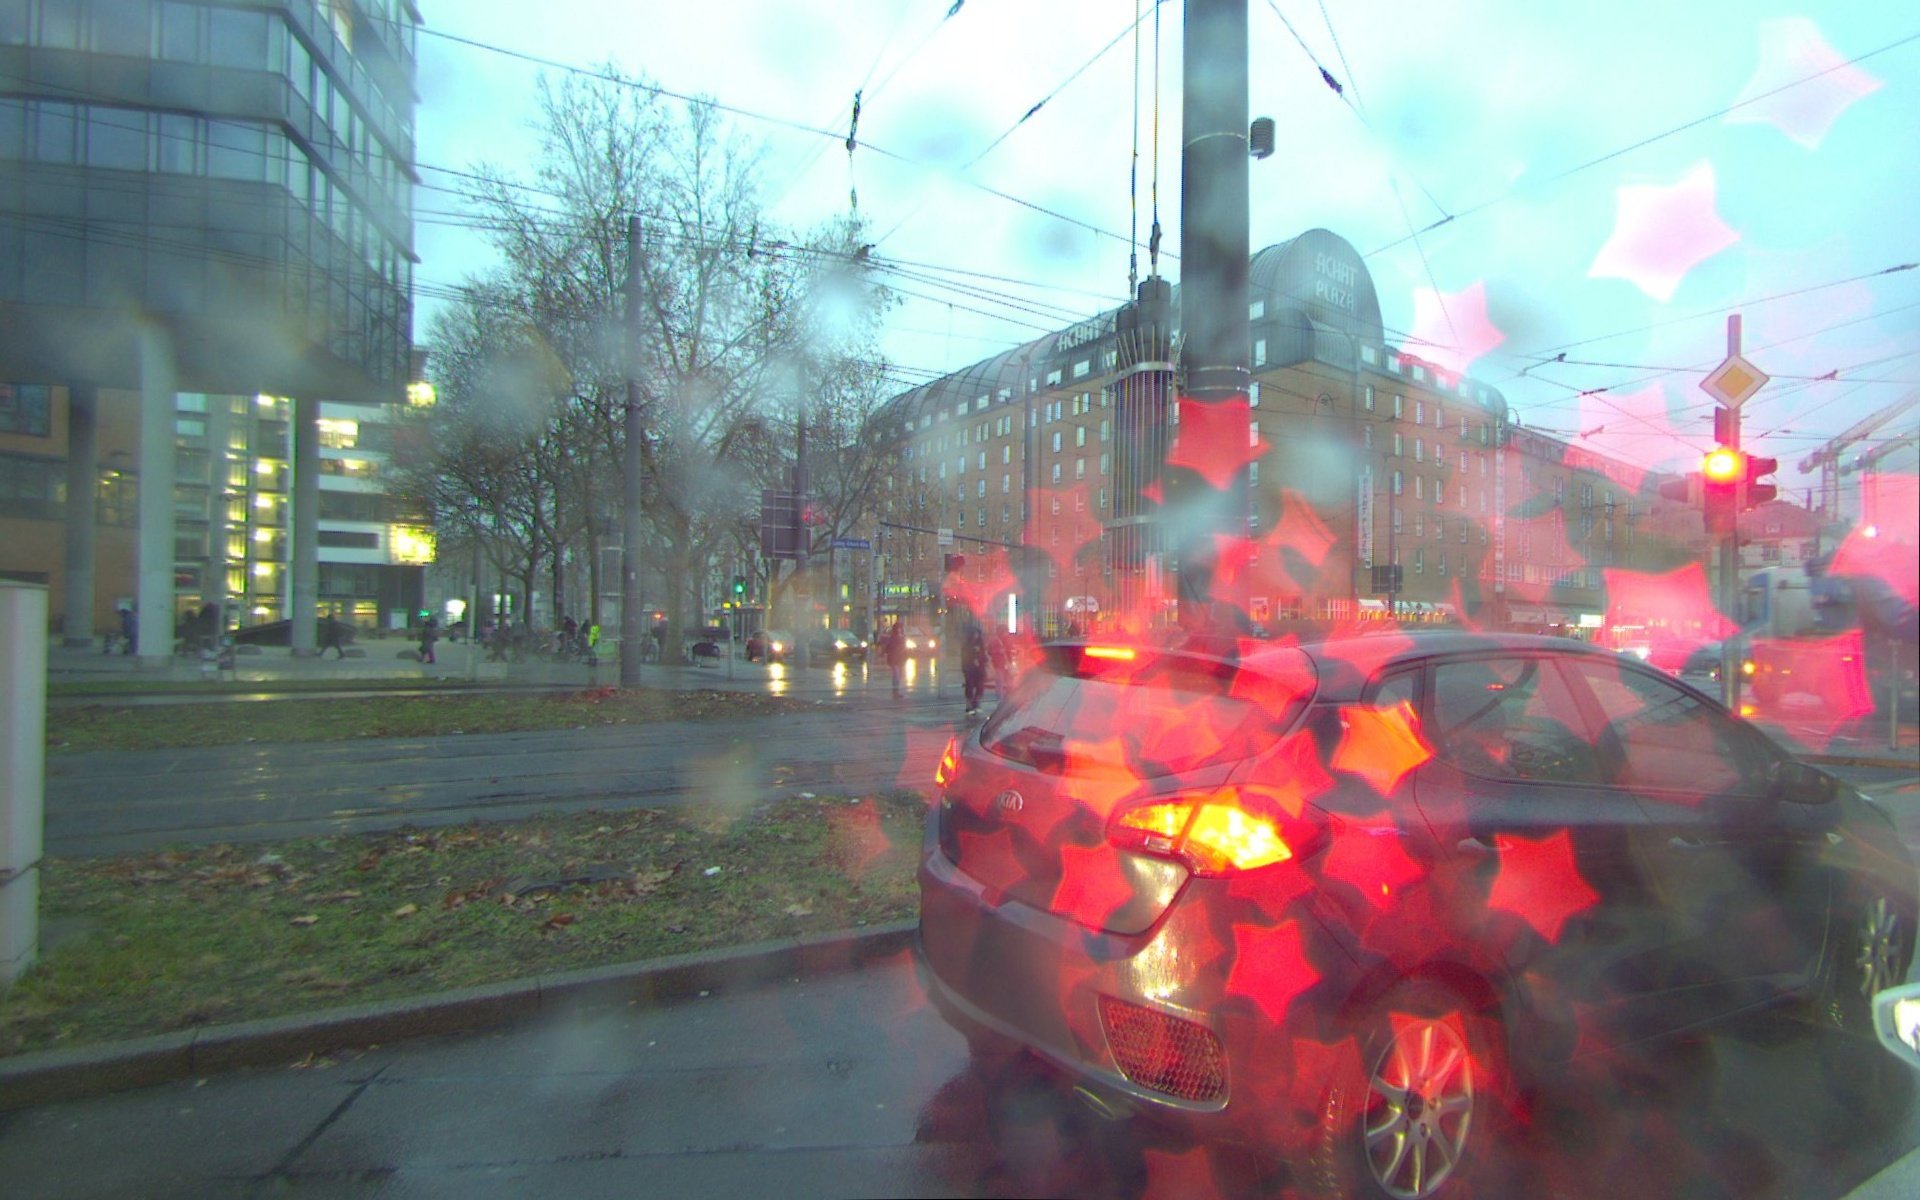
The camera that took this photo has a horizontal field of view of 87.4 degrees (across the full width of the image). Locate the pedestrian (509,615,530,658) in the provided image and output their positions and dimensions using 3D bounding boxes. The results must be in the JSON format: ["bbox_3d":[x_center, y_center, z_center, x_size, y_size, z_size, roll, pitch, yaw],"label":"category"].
[{"bbox_3d":[-19.202,1.601,43.761,0.719,1.840,0.773,1,-1,-30],"label":"pedestrian"}]

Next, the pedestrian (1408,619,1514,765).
[{"bbox_3d":[5.821,1.058,11.720,1.017,1.621,0.716,-1,-3,22],"label":"pedestrian"}]

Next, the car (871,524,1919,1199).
[{"bbox_3d":[1.792,0.703,3.661,3.895,1.543,1.623,2,-2,-30],"label":"car"}]

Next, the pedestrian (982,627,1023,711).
[{"bbox_3d":[0.783,1.266,18.680,0.604,1.532,0.519,1,-1,-18],"label":"pedestrian"}]

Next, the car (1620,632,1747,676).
[{"bbox_3d":[30.566,2.267,42.534,1.693,1.460,3.971,3,1,-27],"label":"car"}]

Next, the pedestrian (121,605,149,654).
[{"bbox_3d":[-27.630,0.988,33.646,0.670,1.629,0.449,1,-2,-38],"label":"pedestrian"}]

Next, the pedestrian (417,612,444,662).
[{"bbox_3d":[-19.189,1.337,36.394,0.811,1.797,0.568,1,-2,-29],"label":"pedestrian"}]

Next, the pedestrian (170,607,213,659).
[{"bbox_3d":[-25.822,1.104,33.780,0.772,1.734,1.008,1,-2,-15],"label":"pedestrian"}]

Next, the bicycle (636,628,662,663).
[{"bbox_3d":[-12.261,1.775,39.532,0.624,1.336,2.296,1,-2,-26],"label":"bicycle"}]

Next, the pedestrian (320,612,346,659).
[{"bbox_3d":[-23.281,1.322,37.319,0.776,1.734,0.650,1,-2,-32],"label":"pedestrian"}]

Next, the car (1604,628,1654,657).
[{"bbox_3d":[44.169,2.776,66.310,3.973,1.885,1.974,2,-2,-44],"label":"car"}]

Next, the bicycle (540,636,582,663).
[{"bbox_3d":[-16.356,2.012,41.160,1.564,1.088,0.451,1,-2,-20],"label":"bicycle"}]

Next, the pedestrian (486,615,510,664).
[{"bbox_3d":[-17.575,1.509,38.219,0.778,1.828,0.868,1,-1,-22],"label":"pedestrian"}]

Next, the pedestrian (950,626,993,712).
[{"bbox_3d":[0.213,1.245,18.311,0.635,1.532,0.560,1,-1,-18],"label":"pedestrian"}]

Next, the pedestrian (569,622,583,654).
[{"bbox_3d":[-19.272,1.896,50.377,0.637,1.577,0.765,1,-1,-22],"label":"pedestrian"}]

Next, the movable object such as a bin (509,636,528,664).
[{"bbox_3d":[-16.924,1.911,38.479,0.637,1.048,0.572,1,-1,-23],"label":"movable object such as a bin"}]

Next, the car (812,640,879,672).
[{"bbox_3d":[-5.812,2.799,50.623,1.975,1.483,3.970,1,-2,-28],"label":"car"}]

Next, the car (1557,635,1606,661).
[{"bbox_3d":[42.858,3.306,69.257,3.973,1.692,1.974,2,-2,-44],"label":"car"}]

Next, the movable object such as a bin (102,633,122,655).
[{"bbox_3d":[-28.090,1.460,33.277,0.481,0.698,0.353,2,-2,-38],"label":"movable object such as a bin"}]

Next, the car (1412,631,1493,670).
[{"bbox_3d":[20.074,2.037,41.122,1.676,1.467,4.003,1,-1,6],"label":"car"}]

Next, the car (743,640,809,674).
[{"bbox_3d":[-8.747,2.645,47.540,1.975,1.483,3.970,1,-2,-28],"label":"car"}]

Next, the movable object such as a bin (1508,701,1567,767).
[{"bbox_3d":[6.589,1.518,11.471,0.528,0.708,0.412,-1,-3,23],"label":"movable object such as a bin"}]

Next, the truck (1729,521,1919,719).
[{"bbox_3d":[19.946,0.471,21.903,2.792,3.681,7.528,0,-1,19],"label":"truck"}]

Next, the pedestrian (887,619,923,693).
[{"bbox_3d":[-1.159,1.154,20.932,0.724,1.519,0.676,1,-1,-4],"label":"pedestrian"}]

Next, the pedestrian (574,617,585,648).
[{"bbox_3d":[-25.069,2.140,66.162,0.568,2.040,0.583,1,-2,-16],"label":"pedestrian"}]

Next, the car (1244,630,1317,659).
[{"bbox_3d":[17.195,2.353,54.080,1.680,1.478,3.734,1,-2,-25],"label":"car"}]

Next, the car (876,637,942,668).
[{"bbox_3d":[-2.707,2.698,52.570,1.975,1.483,3.970,1,-2,-28],"label":"car"}]
